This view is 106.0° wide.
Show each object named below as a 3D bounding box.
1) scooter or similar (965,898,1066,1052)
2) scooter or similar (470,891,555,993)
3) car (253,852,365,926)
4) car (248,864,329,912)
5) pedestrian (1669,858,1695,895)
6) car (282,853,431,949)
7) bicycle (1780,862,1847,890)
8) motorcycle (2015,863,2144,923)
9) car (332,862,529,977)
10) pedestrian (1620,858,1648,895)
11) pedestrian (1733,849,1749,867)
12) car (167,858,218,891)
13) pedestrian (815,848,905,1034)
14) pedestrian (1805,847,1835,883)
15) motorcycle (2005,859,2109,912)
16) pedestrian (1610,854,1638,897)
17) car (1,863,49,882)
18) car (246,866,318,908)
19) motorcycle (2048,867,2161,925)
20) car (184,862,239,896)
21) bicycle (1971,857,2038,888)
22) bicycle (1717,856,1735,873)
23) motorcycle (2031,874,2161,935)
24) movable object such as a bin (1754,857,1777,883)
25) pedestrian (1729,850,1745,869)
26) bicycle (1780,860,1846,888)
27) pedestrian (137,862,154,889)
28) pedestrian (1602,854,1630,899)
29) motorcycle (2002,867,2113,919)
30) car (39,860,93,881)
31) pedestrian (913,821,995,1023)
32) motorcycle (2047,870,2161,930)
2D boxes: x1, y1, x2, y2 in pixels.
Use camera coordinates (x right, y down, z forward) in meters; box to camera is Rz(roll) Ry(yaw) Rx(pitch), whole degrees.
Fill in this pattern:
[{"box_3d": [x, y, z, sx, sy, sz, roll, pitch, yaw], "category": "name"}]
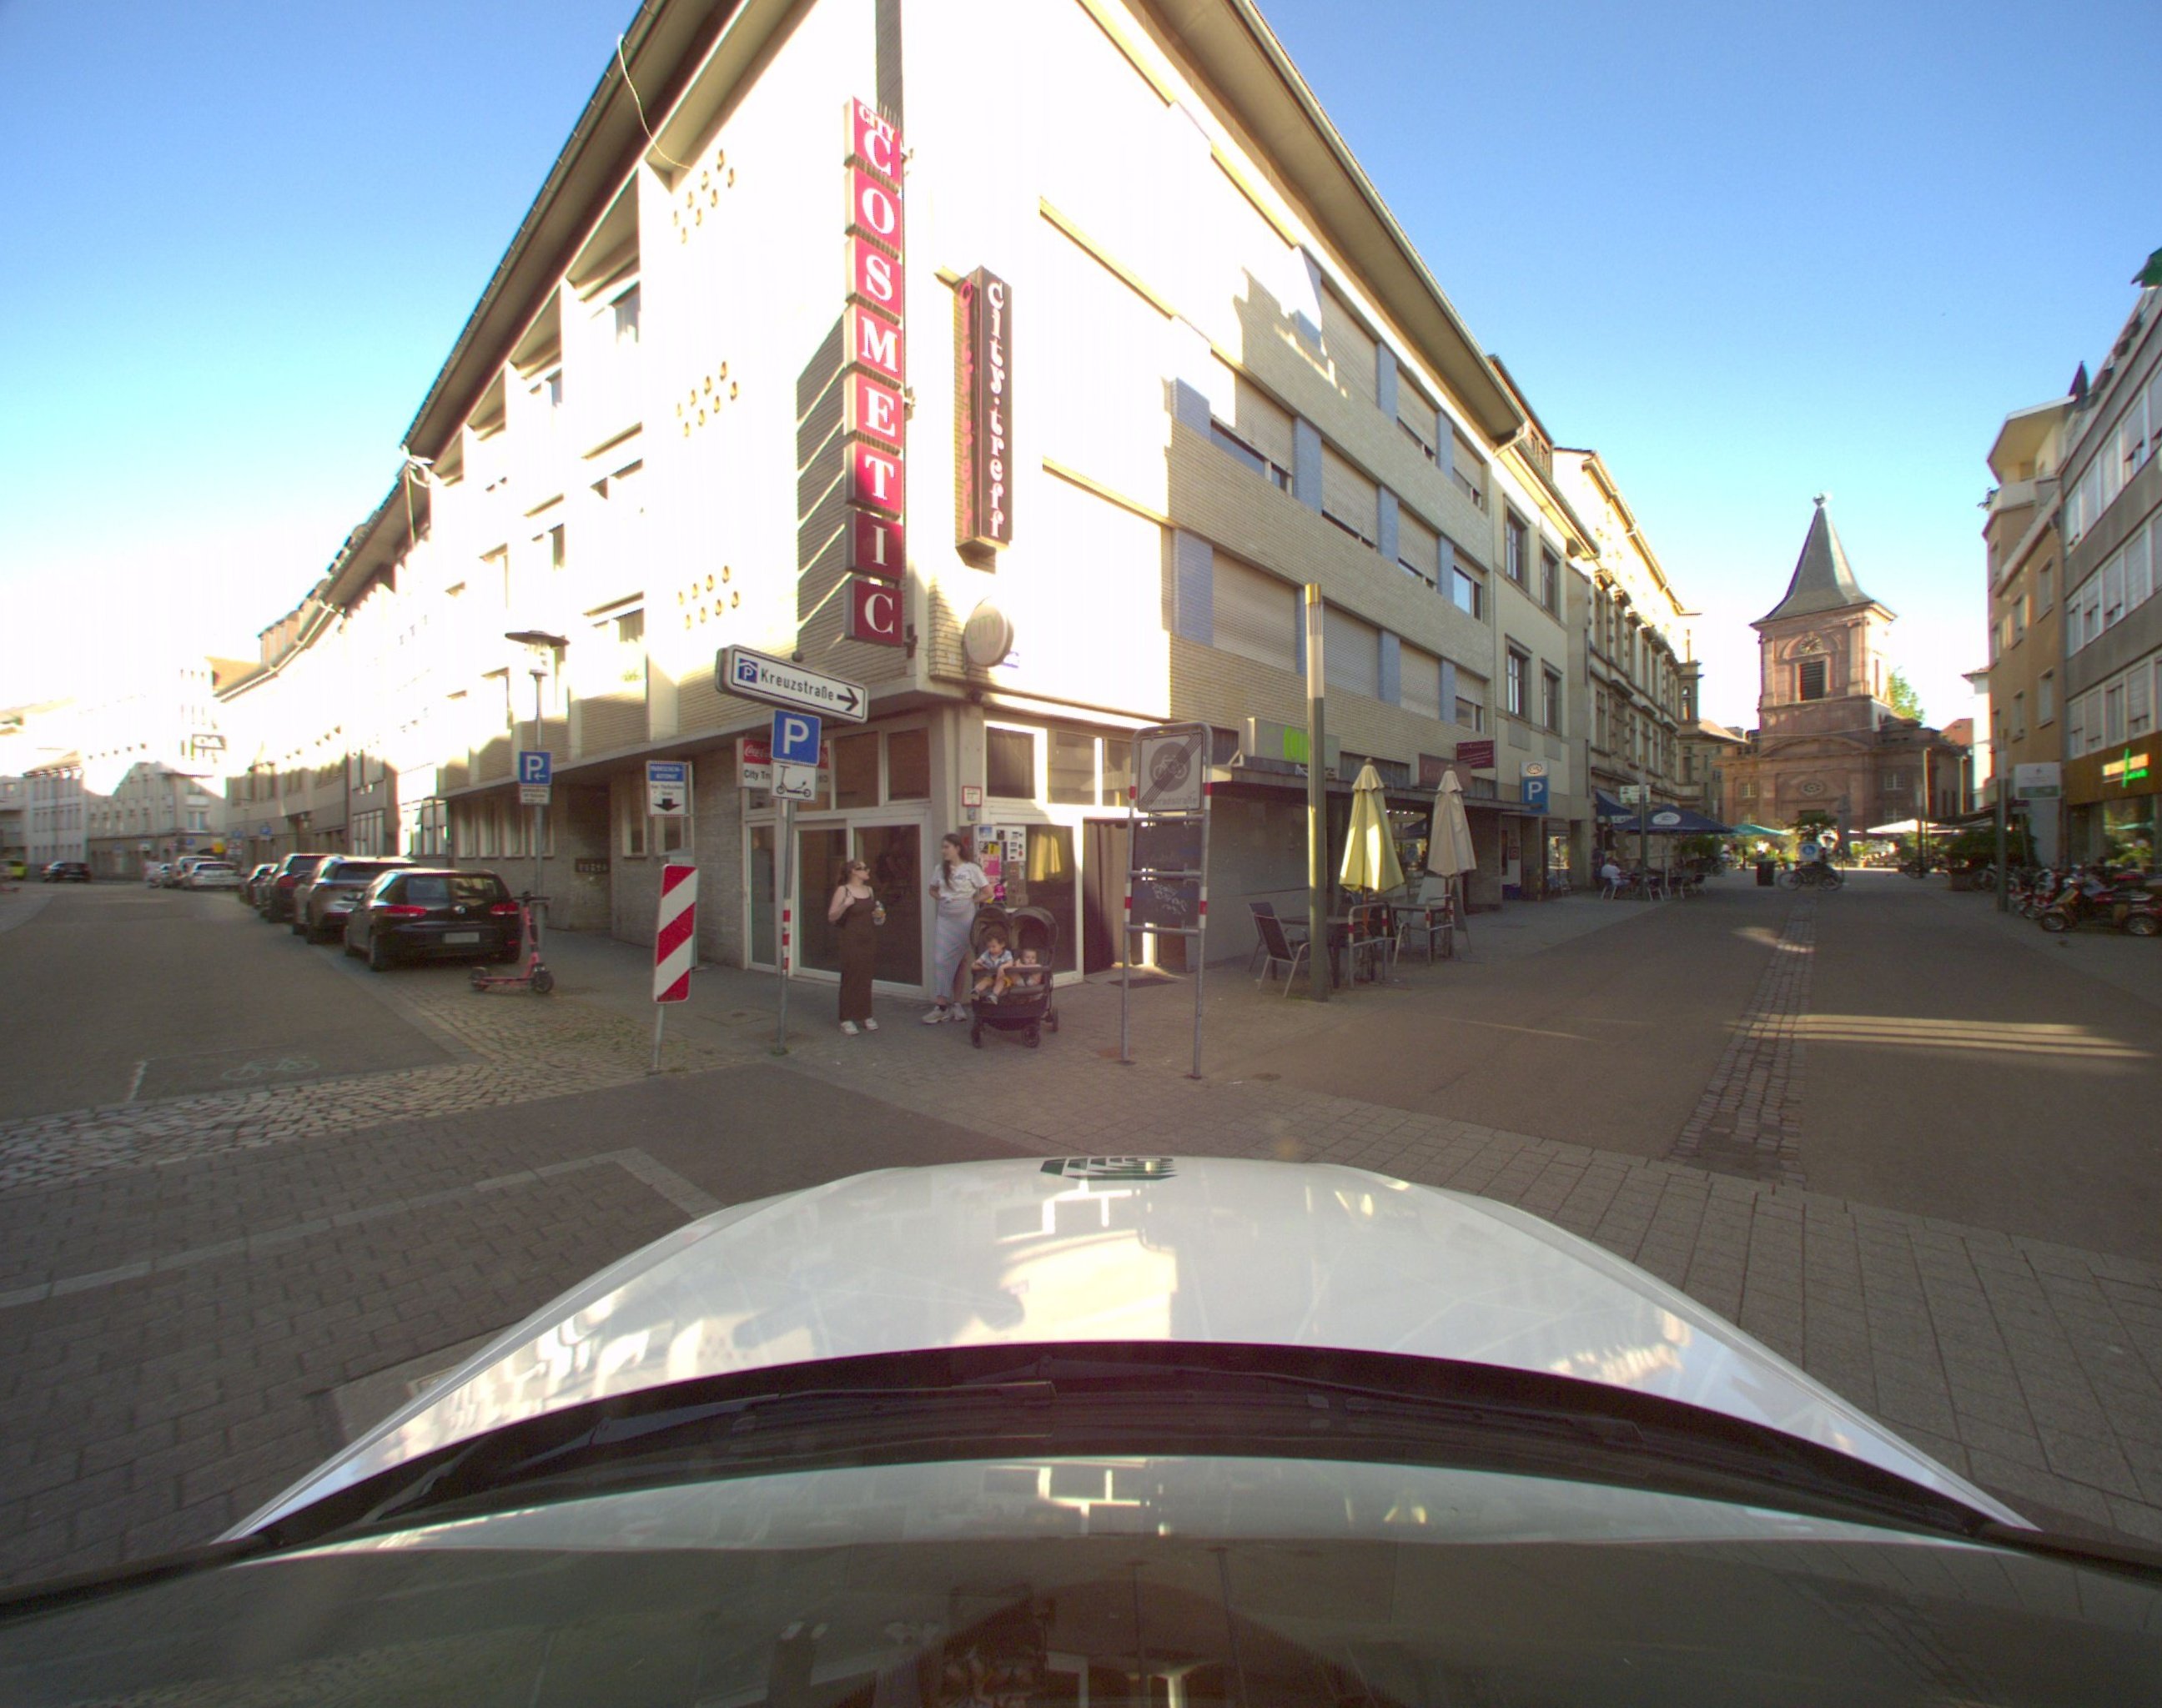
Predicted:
[{"box_3d": [-0.560, 0.990, 6.982, 0.795, 1.144, 0.952, -1, 1, -5], "category": "scooter or similar"}, {"box_3d": [-6.837, 1.052, 9.800, 0.876, 1.183, 0.208, -1, 0, 1], "category": "scooter or similar"}, {"box_3d": [-19.817, 0.858, 20.854, 3.961, 1.705, 1.684, -1, -2, 42], "category": "car"}, {"box_3d": [-24.882, 1.034, 25.535, 3.579, 1.391, 1.530, -1, -2, 42], "category": "car"}, {"box_3d": [20.149, 0.744, 27.313, 0.685, 1.215, 0.587, -1, 0, 35], "category": "pedestrian"}, {"box_3d": [-14.325, 0.851, 16.024, 4.029, 1.661, 1.684, -1, -2, 42], "category": "car"}, {"box_3d": [27.080, 0.791, 30.142, 1.806, 1.005, 0.383, 0, 0, 40], "category": "bicycle"}, {"box_3d": [20.640, 0.771, 16.873, 0.482, 1.175, 1.614, 0, -1, -29], "category": "motorcycle"}, {"box_3d": [-10.248, 0.907, 12.747, 3.763, 1.486, 1.751, 0, -2, 42], "category": "car"}, {"box_3d": [18.713, 0.743, 27.548, 0.757, 1.233, 0.836, -1, 0, 35], "category": "pedestrian"}, {"box_3d": [43.374, 0.257, 53.534, 0.723, 1.218, 0.694, 0, 0, -42], "category": "pedestrian"}, {"box_3d": [-49.759, 1.144, 45.576, 3.609, 1.775, 1.704, -1, -2, 40], "category": "car"}, {"box_3d": [-1.997, 0.748, 7.350, 0.537, 1.579, 0.504, -4, 2, -42], "category": "pedestrian"}, {"box_3d": [30.309, 0.439, 33.397, 0.875, 1.464, 0.735, -1, 0, 43], "category": "pedestrian"}, {"box_3d": [22.567, 0.707, 18.854, 0.413, 1.181, 1.473, 0, -1, -32], "category": "motorcycle"}, {"box_3d": [17.499, 0.679, 26.254, 0.710, 1.368, 0.715, -1, 0, 31], "category": "pedestrian"}, {"box_3d": [-94.751, 1.624, 73.085, 3.788, 1.651, 1.947, 0, -1, 28], "category": "car"}, {"box_3d": [-28.201, 1.119, 28.722, 3.579, 1.391, 1.530, -1, -2, 42], "category": "car"}, {"box_3d": [20.005, 0.790, 15.832, 0.413, 1.076, 1.474, 0, -1, -29], "category": "motorcycle"}, {"box_3d": [-44.966, 1.276, 42.102, 3.462, 1.679, 1.704, -1, -2, 40], "category": "car"}, {"box_3d": [30.241, 0.594, 26.684, 0.576, 1.005, 1.451, 0, 0, -40], "category": "bicycle"}, {"box_3d": [33.070, 0.517, 41.744, 2.158, 0.850, 0.452, -1, 0, -44], "category": "bicycle"}, {"box_3d": [18.501, 0.891, 14.799, 0.373, 1.041, 1.554, 0, -1, -29], "category": "motorcycle"}, {"box_3d": [28.241, 0.650, 33.602, 0.714, 1.074, 0.376, -1, 0, 41], "category": "movable object such as a bin"}, {"box_3d": [42.325, 0.330, 52.543, 0.723, 1.218, 0.694, 0, 0, -42], "category": "pedestrian"}, {"box_3d": [27.340, 0.727, 30.448, 1.806, 1.005, 0.383, 0, 0, 40], "category": "bicycle"}, {"box_3d": [-52.236, 1.198, 45.475, 0.468, 1.479, 0.575, -1, 0, 34], "category": "pedestrian"}, {"box_3d": [16.800, 0.692, 25.581, 0.701, 1.368, 0.724, -1, 0, 31], "category": "pedestrian"}, {"box_3d": [21.124, 0.829, 17.655, 0.413, 1.076, 1.474, 0, -1, -29], "category": "motorcycle"}, {"box_3d": [-80.557, 1.300, 64.638, 3.788, 1.651, 1.947, -1, 0, 28], "category": "car"}, {"box_3d": [-1.193, 0.616, 7.756, 0.657, 1.819, 0.569, -3, 1, -6], "category": "pedestrian"}, {"box_3d": [19.266, 0.838, 15.215, 0.413, 1.076, 1.507, 0, -1, -29], "category": "motorcycle"}]
